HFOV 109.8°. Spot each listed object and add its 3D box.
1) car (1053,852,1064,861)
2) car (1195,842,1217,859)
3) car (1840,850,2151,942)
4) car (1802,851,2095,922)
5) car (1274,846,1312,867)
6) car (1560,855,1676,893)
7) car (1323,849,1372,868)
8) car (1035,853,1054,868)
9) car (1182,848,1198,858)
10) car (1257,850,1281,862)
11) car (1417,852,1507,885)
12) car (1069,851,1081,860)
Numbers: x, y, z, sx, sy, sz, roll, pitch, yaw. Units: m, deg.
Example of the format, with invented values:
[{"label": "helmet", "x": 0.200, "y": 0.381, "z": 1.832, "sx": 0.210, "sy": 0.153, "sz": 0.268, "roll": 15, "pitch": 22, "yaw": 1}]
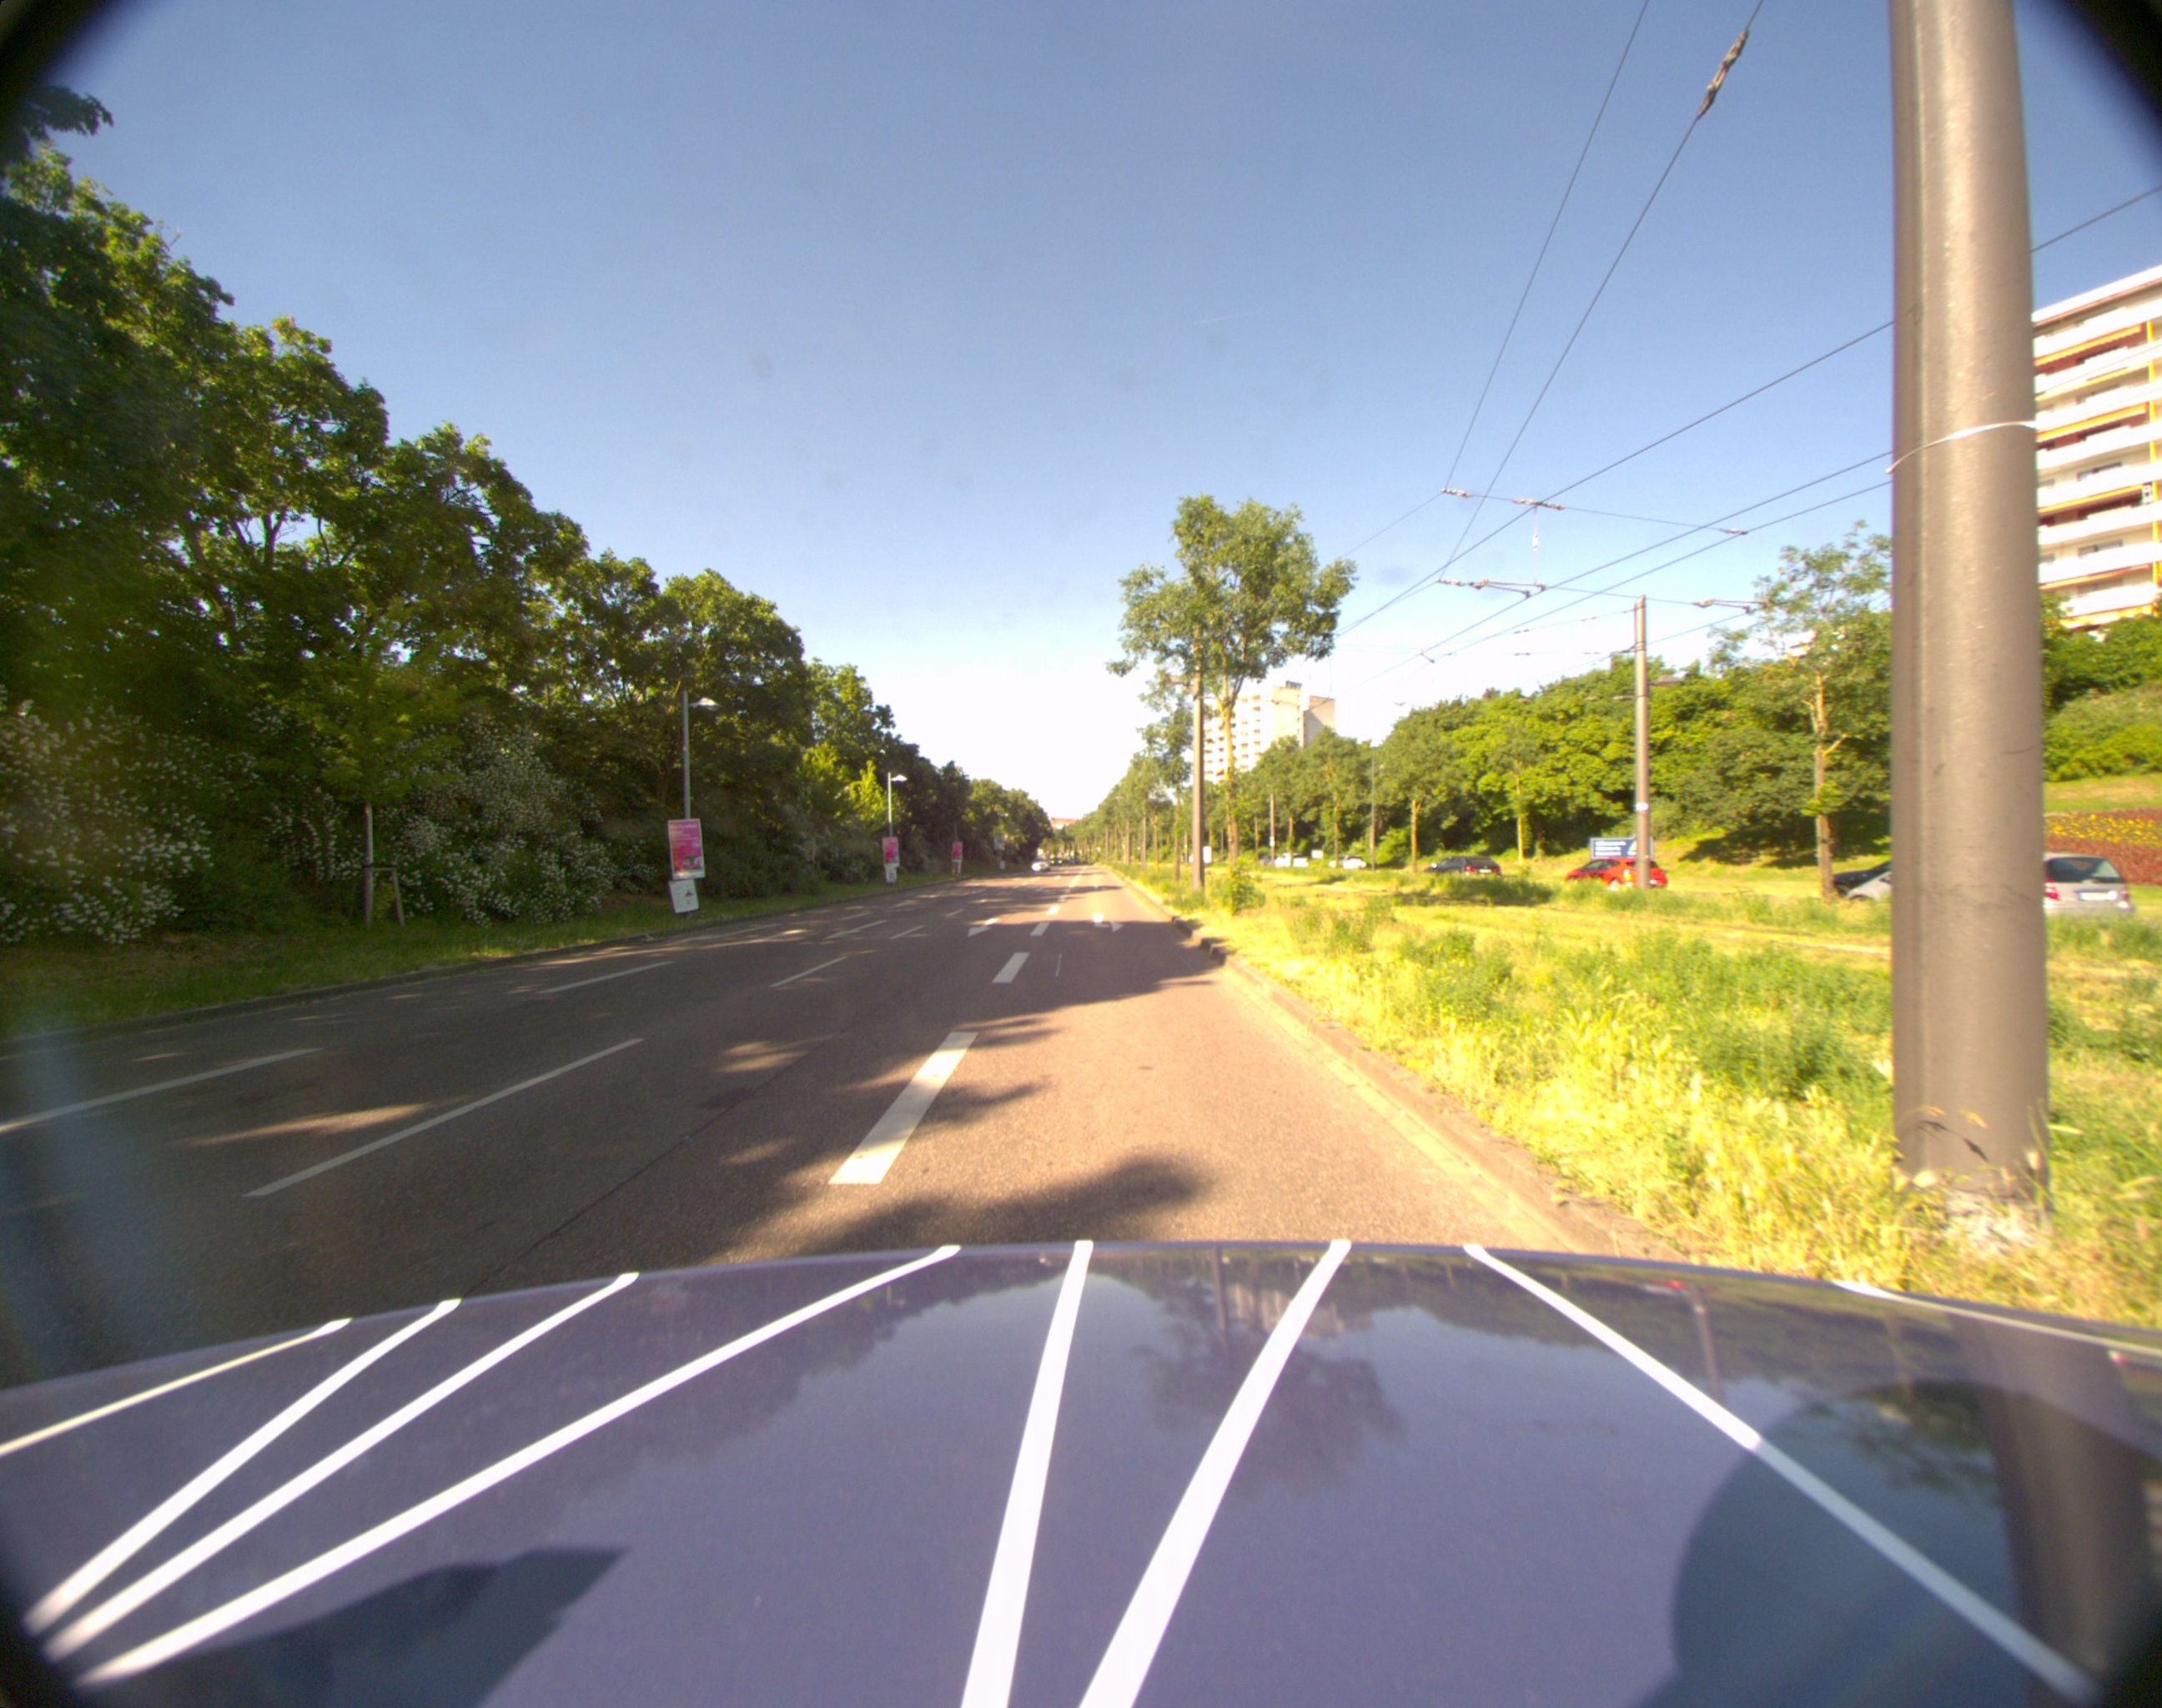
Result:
[{"label": "car", "x": -3.878, "y": 0.472, "z": 132.458, "sx": 1.831, "sy": 1.400, "sz": 4.216, "roll": -1, "pitch": 0, "yaw": -1}, {"label": "car", "x": 17.479, "y": -0.514, "z": 106.493, "sx": 2.044, "sy": 2.355, "sz": 6.880, "roll": -2, "pitch": 1, "yaw": 1}, {"label": "car", "x": 17.833, "y": 0.727, "z": 15.143, "sx": 1.767, "sy": 1.599, "sz": 3.758, "roll": 0, "pitch": 1, "yaw": 4}, {"label": "car", "x": 21.007, "y": 0.689, "z": 18.786, "sx": 1.998, "sy": 1.472, "sz": 4.631, "roll": -2, "pitch": 1, "yaw": 1}, {"label": "car", "x": 17.992, "y": 0.201, "z": 64.712, "sx": 1.899, "sy": 1.612, "sz": 4.656, "roll": -2, "pitch": 1, "yaw": -1}, {"label": "car", "x": 21.006, "y": 0.750, "z": 29.953, "sx": 1.661, "sy": 1.290, "sz": 4.177, "roll": -2, "pitch": 1, "yaw": 1}, {"label": "car", "x": 21.313, "y": 0.353, "z": 60.974, "sx": 1.905, "sy": 1.390, "sz": 4.540, "roll": -2, "pitch": 1, "yaw": -7}, {"label": "car", "x": -3.954, "y": 0.669, "z": 83.044, "sx": 1.672, "sy": 1.531, "sz": 4.060, "roll": -4, "pitch": 0, "yaw": 1}, {"label": "car", "x": 18.690, "y": -0.209, "z": 130.181, "sx": 1.998, "sy": 1.575, "sz": 5.272, "roll": -2, "pitch": 1, "yaw": 1}, {"label": "car", "x": 20.771, "y": 0.224, "z": 84.020, "sx": 1.802, "sy": 1.285, "sz": 4.000, "roll": -2, "pitch": 1, "yaw": 3}, {"label": "car", "x": 18.141, "y": 0.639, "z": 36.487, "sx": 1.998, "sy": 1.401, "sz": 4.990, "roll": -2, "pitch": 0, "yaw": 2}, {"label": "car", "x": -1.131, "y": 0.250, "z": 139.597, "sx": 1.999, "sy": 1.696, "sz": 3.999, "roll": -2, "pitch": 1, "yaw": -1}]
